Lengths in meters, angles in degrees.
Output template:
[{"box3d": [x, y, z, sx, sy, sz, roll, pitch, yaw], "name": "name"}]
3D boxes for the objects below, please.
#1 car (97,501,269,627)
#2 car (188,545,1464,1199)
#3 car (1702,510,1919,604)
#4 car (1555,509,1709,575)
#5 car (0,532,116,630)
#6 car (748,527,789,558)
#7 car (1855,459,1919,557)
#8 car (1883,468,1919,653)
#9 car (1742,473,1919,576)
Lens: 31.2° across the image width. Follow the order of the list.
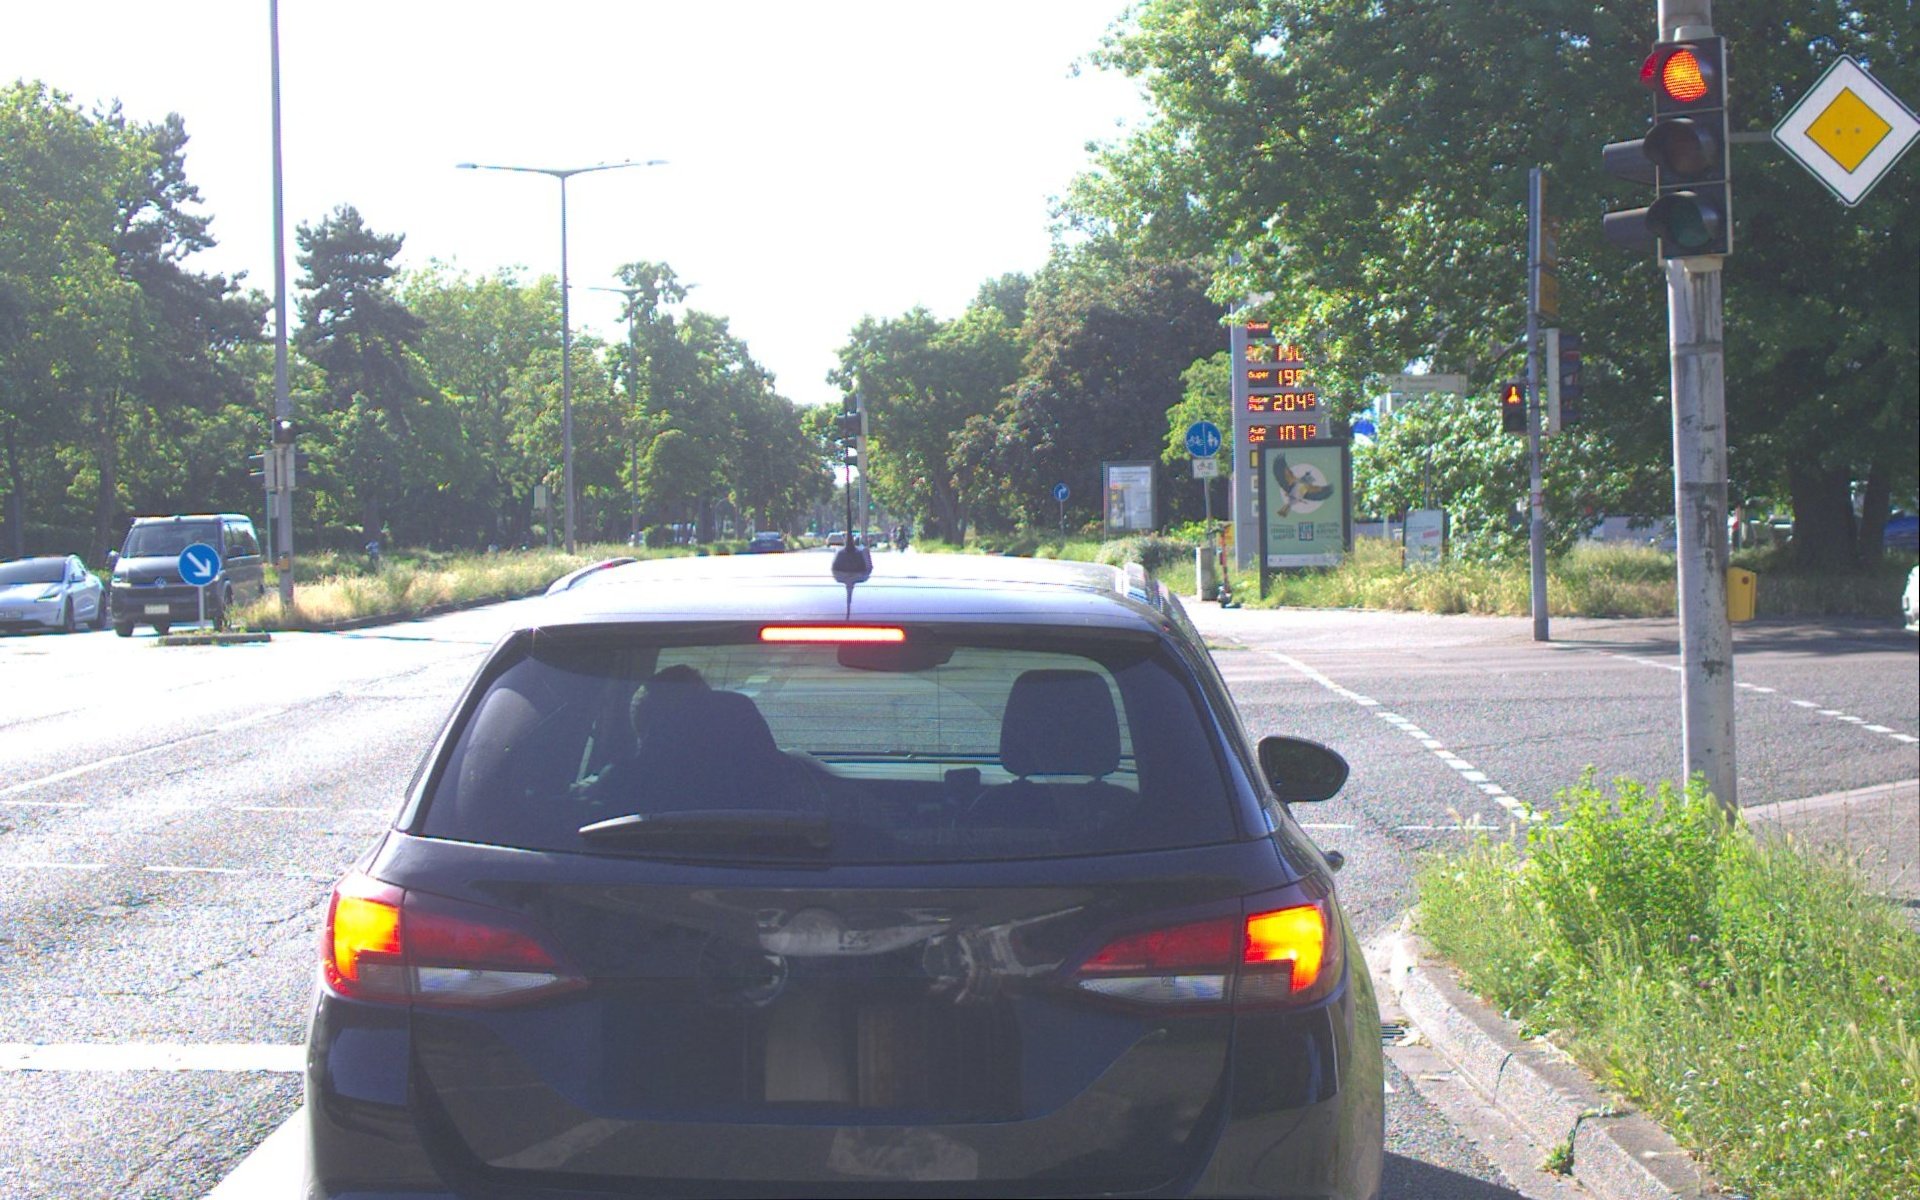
[{"box3d": [-13.027, -0.601, 57.825, 1.993, 2.007, 4.000, 1, 1, -1], "name": "car"}, {"box3d": [-0.210, 0.658, 6.644, 1.755, 1.504, 3.809, 0, 1, -1], "name": "car"}, {"box3d": [16.085, -0.815, 64.913, 3.711, 1.679, 1.704, 1, 0, -3], "name": "car"}, {"box3d": [17.931, -1.547, 91.815, 3.711, 1.679, 1.704, 1, 0, -3], "name": "car"}, {"box3d": [-16.913, -0.343, 62.989, 1.864, 1.678, 4.000, -3, 1, 0], "name": "car"}, {"box3d": [-9.818, -2.946, 176.245, 1.888, 1.547, 4.000, -1, 1, -1], "name": "car"}, {"box3d": [16.817, -1.474, 56.726, 3.836, 1.558, 1.805, 1, 1, -32], "name": "car"}, {"box3d": [10.473, -0.374, 29.780, 4.620, 1.568, 1.999, -1, 0, 11], "name": "car"}, {"box3d": [15.480, -1.281, 59.088, 3.711, 1.679, 1.704, 1, 1, -27], "name": "car"}]
